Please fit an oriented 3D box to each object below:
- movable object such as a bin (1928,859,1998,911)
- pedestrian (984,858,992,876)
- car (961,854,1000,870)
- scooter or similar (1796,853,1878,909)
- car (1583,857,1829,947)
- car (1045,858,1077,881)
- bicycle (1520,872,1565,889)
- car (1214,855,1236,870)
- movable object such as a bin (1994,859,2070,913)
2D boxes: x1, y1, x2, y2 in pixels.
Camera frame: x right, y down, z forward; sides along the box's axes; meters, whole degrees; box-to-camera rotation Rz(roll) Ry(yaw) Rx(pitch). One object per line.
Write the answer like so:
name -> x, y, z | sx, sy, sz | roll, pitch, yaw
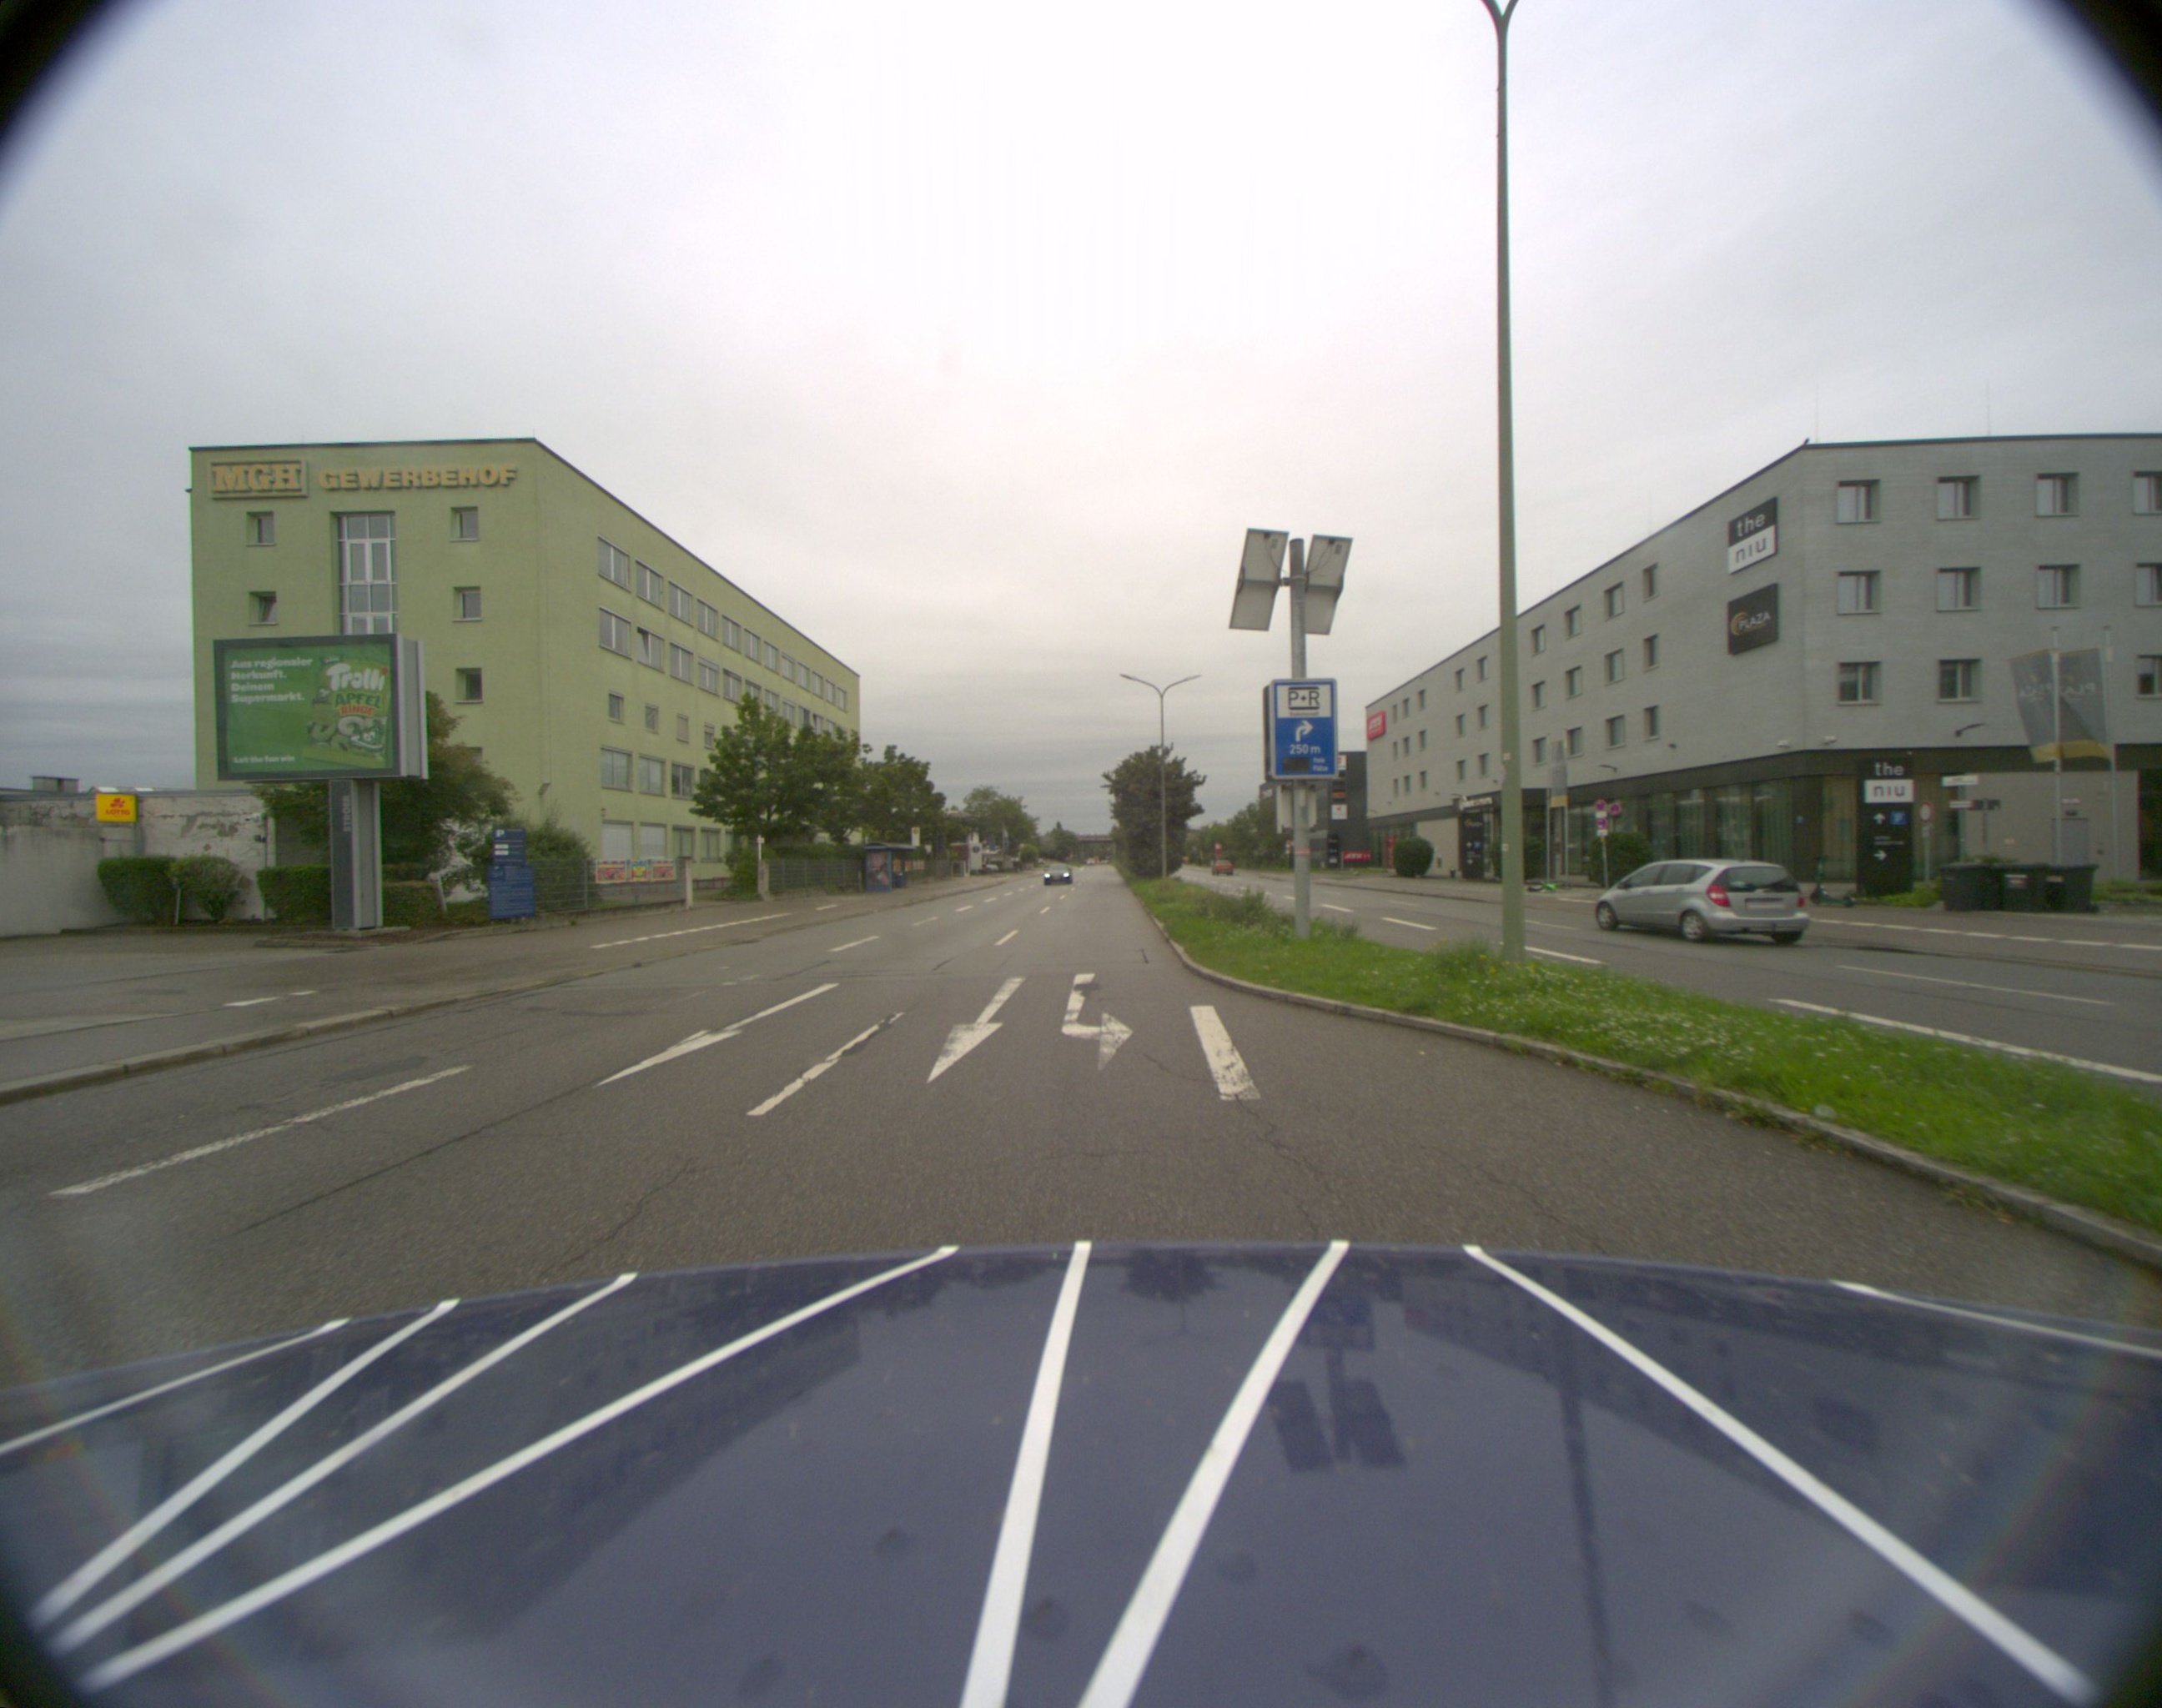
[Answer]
movable object such as a bin -> 19.211, 0.670, 16.566 | 0.738, 1.072, 0.655 | -2, 0, 3
pedestrian -> -9.809, 1.366, 80.351 | 0.683, 1.810, 0.688 | -2, 1, 1
car -> -12.805, 1.069, 96.756 | 4.651, 1.832, 1.798 | -2, 0, -20
scooter or similar -> 18.709, 0.642, 18.841 | 0.587, 1.270, 1.404 | -6, 0, 3
car -> 12.291, 0.843, 15.341 | 1.818, 1.548, 4.027 | 0, 0, 4
car -> -1.362, 1.091, 54.593 | 1.916, 1.498, 4.440 | -2, 0, 3
bicycle -> 17.862, 1.030, 29.469 | 0.721, 0.545, 1.732 | -4, 0, 2
car -> 15.430, 0.938, 81.616 | 1.740, 1.539, 4.304 | 0, 0, 2
movable object such as a bin -> 19.835, 0.661, 15.861 | 0.738, 1.072, 0.655 | -2, 0, 3
